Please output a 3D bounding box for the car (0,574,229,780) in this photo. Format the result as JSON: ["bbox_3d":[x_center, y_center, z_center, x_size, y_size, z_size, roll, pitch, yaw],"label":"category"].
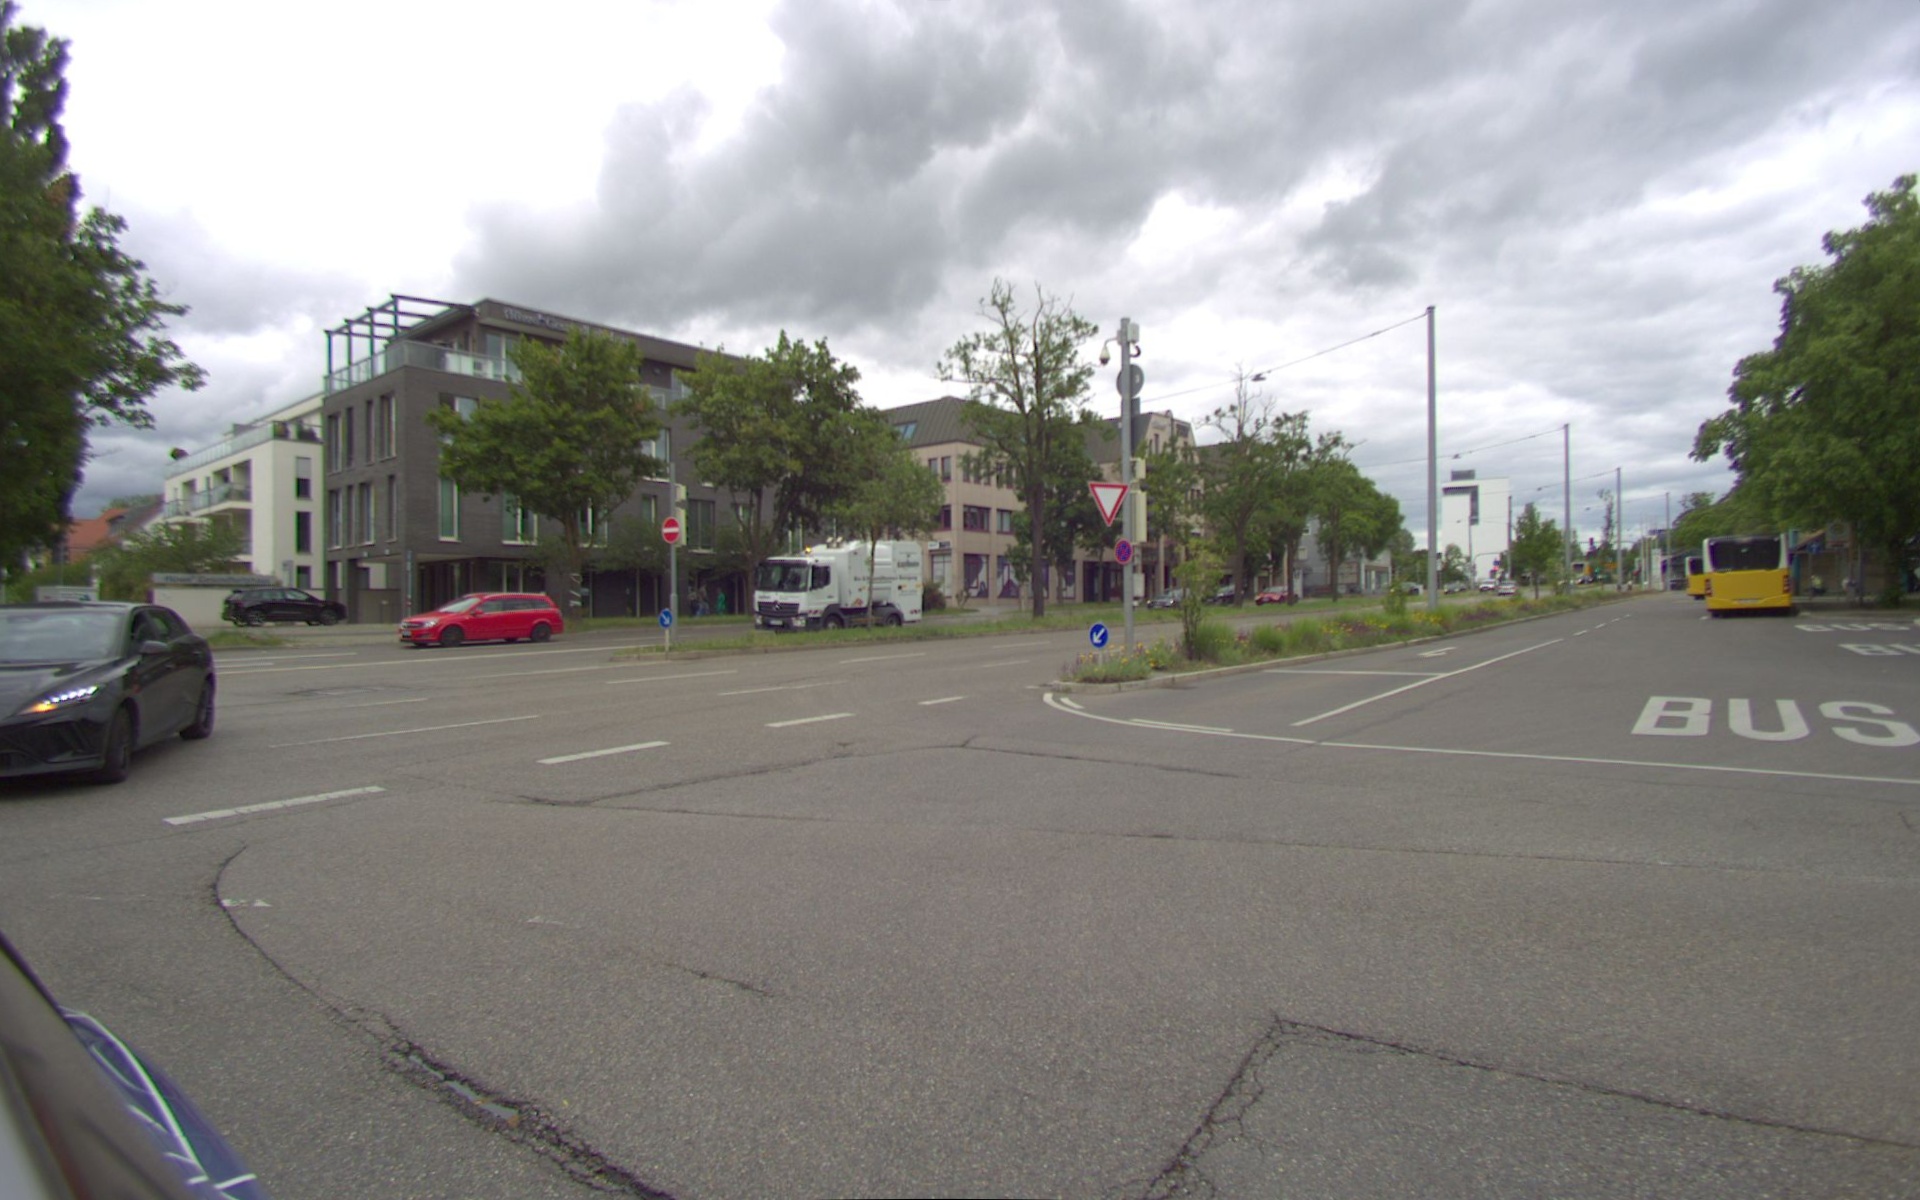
[{"bbox_3d":[-8.359,0.545,9.296,1.770,1.494,4.033,1,1,-23],"label":"car"}]

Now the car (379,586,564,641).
[{"bbox_3d":[-13.668,0.329,28.567,1.995,1.434,4.304,0,0,35],"label":"car"}]

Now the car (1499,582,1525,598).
[{"bbox_3d":[59.814,-1.110,109.673,1.749,1.540,3.699,-2,0,41],"label":"car"}]

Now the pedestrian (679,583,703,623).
[{"bbox_3d":[-11.917,0.127,44.883,0.691,1.759,0.691,-3,0,32],"label":"pedestrian"}]

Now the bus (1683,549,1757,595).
[{"bbox_3d":[56.042,-2.096,74.496,3.296,3.031,10.088,-3,0,42],"label":"bus"}]

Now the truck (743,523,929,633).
[{"bbox_3d":[-3.883,-0.695,33.102,2.432,3.219,6.391,1,1,34],"label":"truck"}]

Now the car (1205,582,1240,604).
[{"bbox_3d":[19.566,-0.491,75.278,1.762,1.497,3.868,-2,-2,26],"label":"car"}]

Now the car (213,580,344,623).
[{"bbox_3d":[-27.983,0.093,41.643,1.998,1.613,4.071,-3,-2,39],"label":"car"}]

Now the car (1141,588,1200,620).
[{"bbox_3d":[12.781,0.242,61.320,1.994,1.707,4.554,-3,0,32],"label":"car"}]

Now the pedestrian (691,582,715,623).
[{"bbox_3d":[-11.295,0.095,44.439,0.691,1.759,0.642,-3,0,32],"label":"pedestrian"}]

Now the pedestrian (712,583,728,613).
[{"bbox_3d":[-11.233,-0.102,47.312,0.526,1.367,0.661,-3,0,-25],"label":"pedestrian"}]

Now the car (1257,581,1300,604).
[{"bbox_3d":[23.672,-0.544,75.166,1.821,1.497,4.325,-3,-3,35],"label":"car"}]

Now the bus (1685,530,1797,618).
[{"bbox_3d":[30.609,-1.013,39.519,3.051,3.031,8.318,-3,0,40],"label":"bus"}]

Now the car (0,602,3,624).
[{"bbox_3d":[-71.379,0.992,73.975,1.929,1.563,3.966,-3,0,-45],"label":"car"}]
